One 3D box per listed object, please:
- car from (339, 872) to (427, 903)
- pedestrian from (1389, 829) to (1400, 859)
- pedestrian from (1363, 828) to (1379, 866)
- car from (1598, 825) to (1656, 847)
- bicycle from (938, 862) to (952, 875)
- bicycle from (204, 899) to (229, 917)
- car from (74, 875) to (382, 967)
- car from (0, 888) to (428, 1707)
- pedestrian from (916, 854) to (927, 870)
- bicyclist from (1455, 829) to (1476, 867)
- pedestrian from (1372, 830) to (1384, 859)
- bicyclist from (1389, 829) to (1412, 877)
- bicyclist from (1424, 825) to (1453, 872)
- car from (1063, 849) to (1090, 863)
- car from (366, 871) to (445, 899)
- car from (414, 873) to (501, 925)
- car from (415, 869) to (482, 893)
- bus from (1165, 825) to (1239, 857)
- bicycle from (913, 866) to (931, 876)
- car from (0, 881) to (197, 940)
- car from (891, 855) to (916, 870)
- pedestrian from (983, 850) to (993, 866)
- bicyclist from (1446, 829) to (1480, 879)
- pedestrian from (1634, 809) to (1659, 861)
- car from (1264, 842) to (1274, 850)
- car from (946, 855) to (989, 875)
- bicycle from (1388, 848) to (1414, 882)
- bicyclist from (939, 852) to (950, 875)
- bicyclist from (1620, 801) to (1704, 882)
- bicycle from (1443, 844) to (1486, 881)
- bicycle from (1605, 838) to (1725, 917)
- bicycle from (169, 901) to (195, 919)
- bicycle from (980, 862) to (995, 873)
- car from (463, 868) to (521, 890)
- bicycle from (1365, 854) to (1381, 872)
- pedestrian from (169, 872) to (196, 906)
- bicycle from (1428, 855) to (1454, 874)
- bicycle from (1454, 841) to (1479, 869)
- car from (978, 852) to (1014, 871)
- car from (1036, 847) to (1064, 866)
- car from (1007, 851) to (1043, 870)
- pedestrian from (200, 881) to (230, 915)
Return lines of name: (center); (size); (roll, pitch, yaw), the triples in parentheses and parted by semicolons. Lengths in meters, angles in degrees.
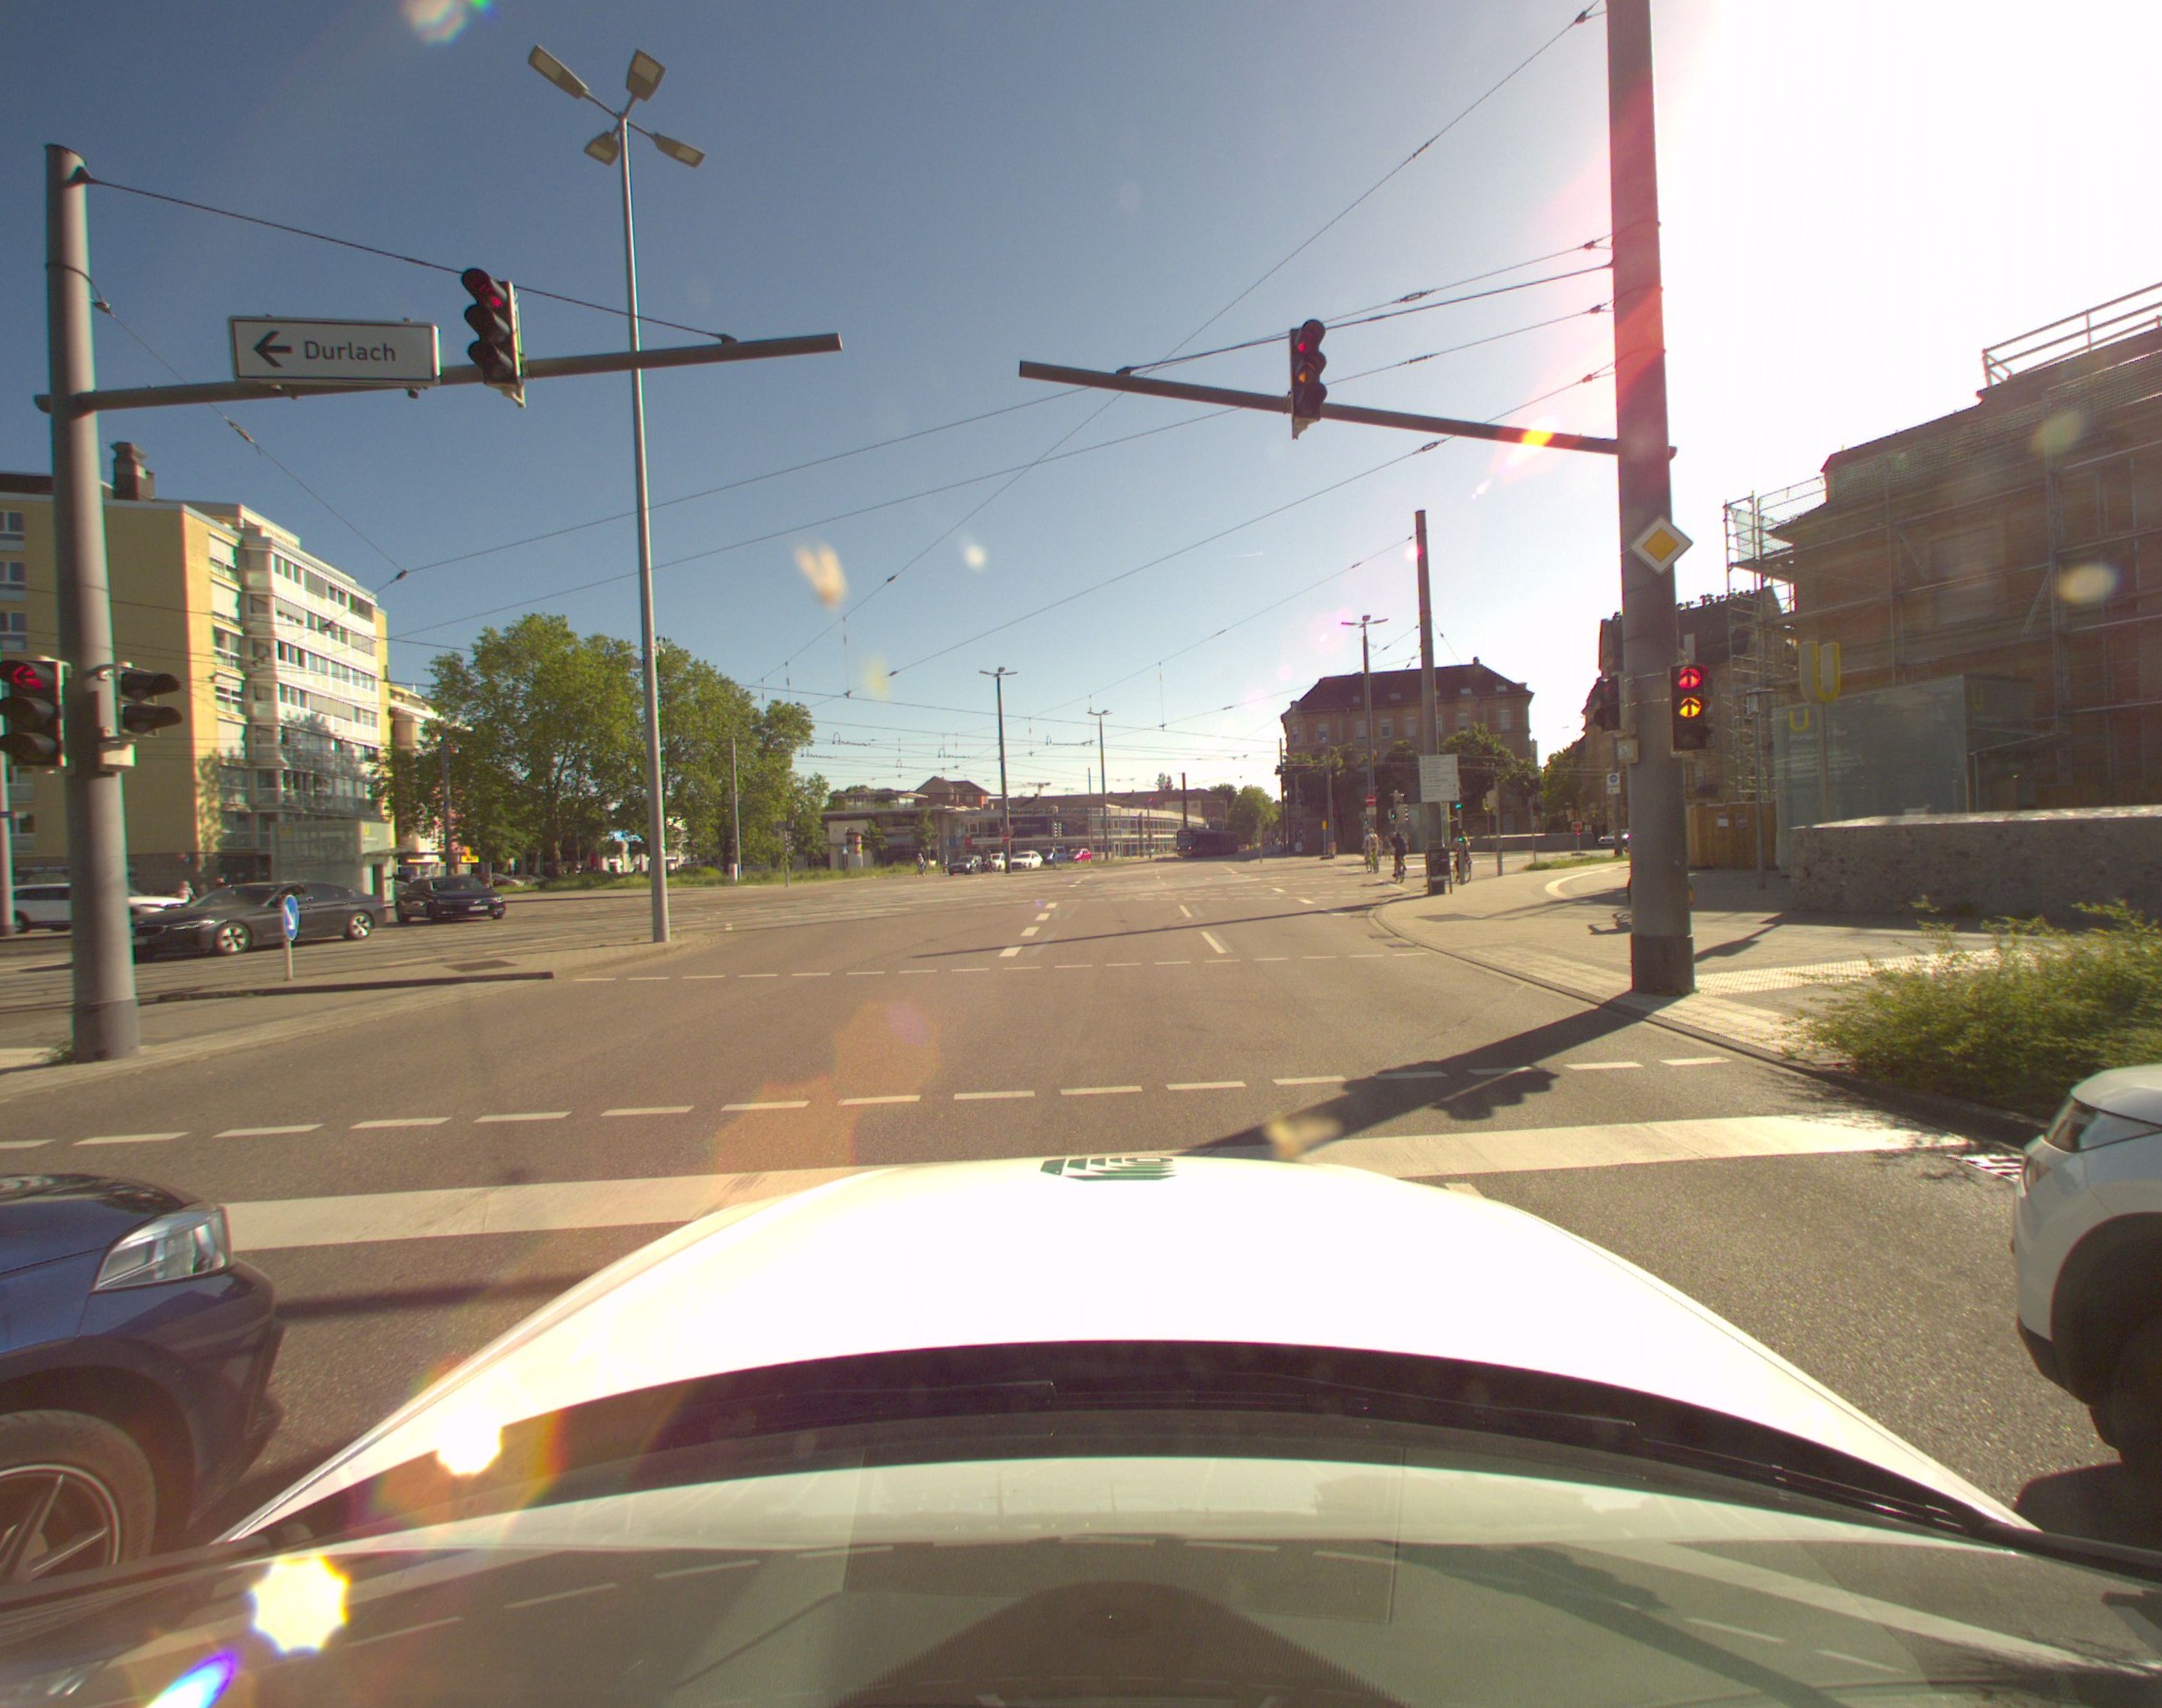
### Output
car: (-42.937, 2.044, 50.181); (3.742, 1.662, 1.585); (-2, 0, -18)
pedestrian: (21.391, -0.693, 55.611); (0.461, 2.013, 0.449); (-3, 0, -16)
pedestrian: (12.333, -0.299, 34.614); (0.543, 1.562, 0.863); (-2, 0, 22)
car: (43.853, -1.456, 65.397); (4.330, 1.563, 1.786); (-2, 0, -24)
bicycle: (-10.513, 1.133, 63.049); (0.464, 0.926, 1.481); (-2, 0, 16)
bicycle: (-41.864, 2.618, 39.435); (0.462, 0.780, 1.789); (-2, 0, -35)
car: (-17.658, 1.287, 17.280); (1.855, 1.501, 4.561); (-2, 0, -4)
car: (-2.669, 0.823, 0.161); (1.704, 1.445, 4.034); (-1, 0, 2)
pedestrian: (-11.950, 0.592, 60.970); (0.418, 1.204, 0.684); (-2, 0, 28)
bicyclist: (16.487, -0.265, 34.946); (0.567, 1.568, 0.950); (-4, 0, 15)
pedestrian: (20.769, -0.677, 56.908); (0.574, 2.013, 0.449); (-3, 0, -16)
bicyclist: (11.176, -0.040, 28.475); (0.621, 1.637, 0.999); (0, 1, 14)
bicyclist: (13.979, -0.216, 31.839); (0.742, 1.778, 0.926); (-3, 0, 9)
car: (-0.443, 0.244, 86.286); (1.613, 1.364, 3.703); (-2, 0, 18)
car: (-45.811, 2.082, 55.292); (3.742, 1.662, 1.585); (-2, 0, -18)
car: (-19.895, 1.379, 25.917); (1.737, 1.438, 4.125); (-2, 0, -43)
car: (-49.899, 2.138, 64.310); (3.742, 1.662, 1.585); (-2, 0, -18)
bus: (16.425, -1.536, 107.177); (3.803, 3.607, 24.999); (-1, 0, 22)
bicycle: (-11.902, 1.278, 61.006); (0.418, 0.718, 1.484); (-2, 0, 28)
car: (-33.562, 1.891, 27.708); (4.306, 1.653, 1.847); (-2, 0, -18)
car: (-21.873, 1.071, 100.592); (1.958, 1.706, 4.085); (-2, 0, 2)
pedestrian: (-6.938, 0.302, 60.738); (0.419, 1.204, 0.753); (-2, 0, 19)
bicyclist: (12.784, 0.000, 27.274); (0.681, 1.598, 0.979); (-2, 0, 6)
pedestrian: (21.189, -0.715, 30.512); (0.692, 1.881, 0.725); (-2, 0, 32)
car: (36.824, -1.615, 159.317); (1.686, 1.503, 4.284); (-2, 0, 17)
car: (-8.501, 0.782, 61.242); (1.689, 1.354, 3.719); (-2, 0, 19)
bicycle: (11.185, 0.372, 28.506); (0.621, 1.114, 1.858); (0, 1, 14)
bicyclist: (-10.536, 0.735, 62.949); (0.564, 1.713, 0.651); (-2, 0, 16)
bicyclist: (9.902, -0.213, 13.912); (0.717, 1.279, 0.908); (-4, 0, 1)
bicycle: (12.791, 0.268, 27.216); (0.681, 1.163, 1.887); (-2, 0, 6)
bicycle: (9.885, 0.366, 13.872); (0.687, 1.218, 1.836); (-4, 0, 2)
bicycle: (-42.980, 2.671, 38.954); (0.489, 0.812, 1.595); (-2, 0, -35)
bicycle: (-6.982, 1.005, 60.596); (0.419, 0.718, 1.642); (-2, 0, 19)
car: (-51.473, 2.166, 71.234); (3.742, 1.662, 1.585); (-2, 0, -18)
bicycle: (12.394, 0.380, 34.552); (0.532, 0.655, 1.735); (-3, 0, 21)
pedestrian: (-43.029, 1.678, 38.992); (0.719, 1.560, 0.551); (-2, 0, -34)
bicycle: (13.986, 0.407, 31.698); (0.534, 0.655, 1.471); (-3, 0, 9)
bicycle: (16.491, 0.024, 34.876); (0.567, 1.125, 1.747); (-4, 0, 15)
car: (-6.981, 0.570, 67.165); (1.613, 1.424, 3.702); (-2, 0, 17)
car: (-2.995, 0.237, 79.215); (1.613, 1.692, 3.702); (-2, 0, 17)
car: (-4.476, 0.507, 65.222); (1.613, 1.382, 3.754); (-2, 0, 17)
pedestrian: (-41.978, 2.116, 39.485); (0.769, 1.560, 0.610); (-2, 0, -28)
